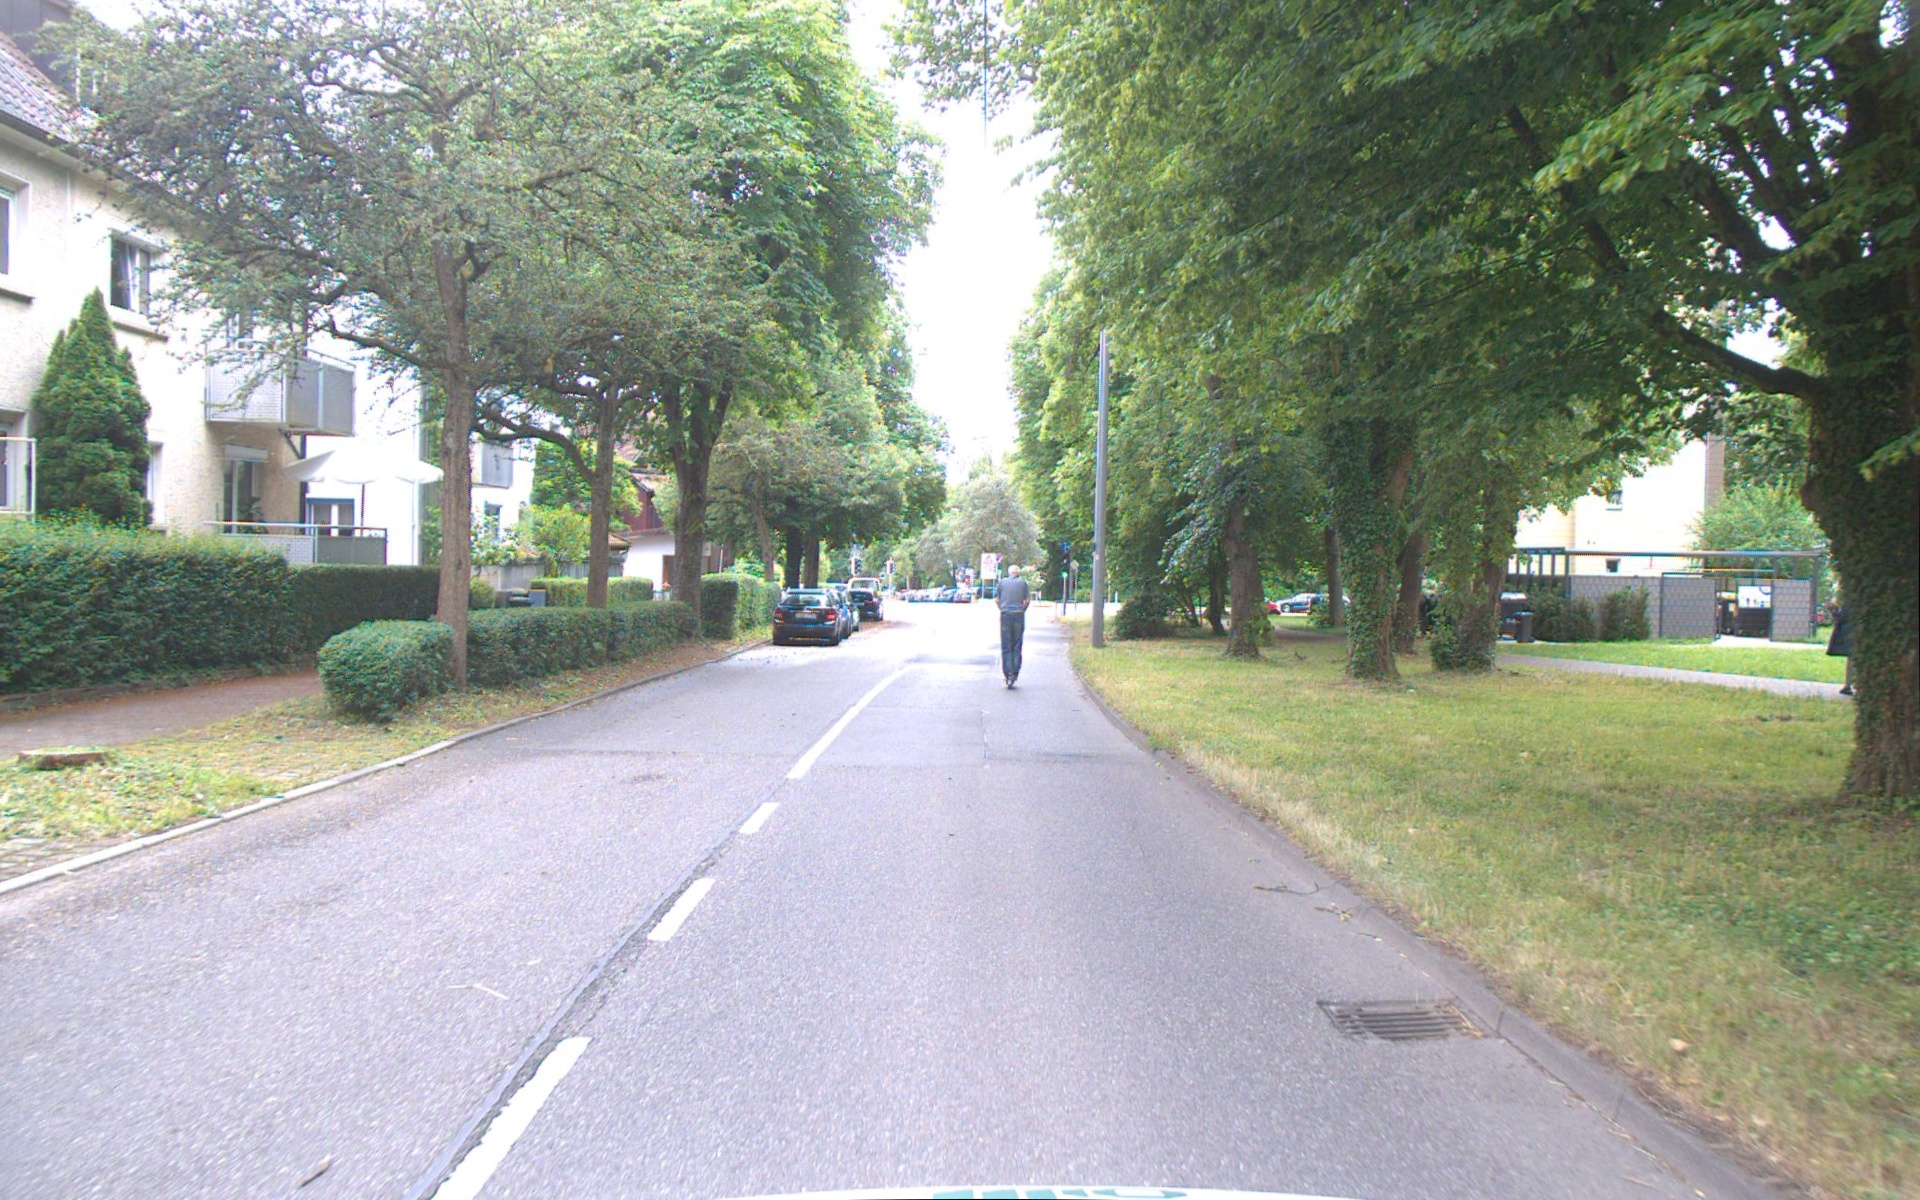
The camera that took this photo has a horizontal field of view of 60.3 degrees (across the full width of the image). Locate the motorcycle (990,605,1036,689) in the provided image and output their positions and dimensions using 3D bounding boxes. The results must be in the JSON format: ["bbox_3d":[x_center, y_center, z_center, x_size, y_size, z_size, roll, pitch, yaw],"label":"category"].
[{"bbox_3d":[0.821,0.715,25.833,0.659,1.238,1.274,2,0,1],"label":"motorcycle"}]

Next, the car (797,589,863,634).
[{"bbox_3d":[-4.278,0.349,55.000,1.757,1.435,4.645,0,0,1],"label":"car"}]

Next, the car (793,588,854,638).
[{"bbox_3d":[-4.034,0.365,49.295,1.631,1.416,3.705,0,0,-2],"label":"car"}]

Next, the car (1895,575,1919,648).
[{"bbox_3d":[25.623,0.328,41.534,2.041,1.875,4.972,0,1,8],"label":"car"}]

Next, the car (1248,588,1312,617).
[{"bbox_3d":[20.319,0.169,104.988,3.902,1.584,1.802,2,3,12],"label":"car"}]

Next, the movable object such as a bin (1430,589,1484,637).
[{"bbox_3d":[15.943,0.400,53.096,1.300,1.527,1.314,0,0,-3],"label":"movable object such as a bin"}]

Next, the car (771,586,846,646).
[{"bbox_3d":[-4.000,0.391,44.225,1.758,1.498,4.416,0,0,-3],"label":"car"}]

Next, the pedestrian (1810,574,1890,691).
[{"bbox_3d":[13.312,0.472,24.753,0.752,1.716,0.814,0,0,-1],"label":"pedestrian"}]

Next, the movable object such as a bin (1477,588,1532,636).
[{"bbox_3d":[17.468,0.383,53.098,1.300,1.527,1.314,0,0,-3],"label":"movable object such as a bin"}]

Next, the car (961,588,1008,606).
[{"bbox_3d":[2.102,-0.252,142.422,3.907,1.537,1.799,0,0,-3],"label":"car"}]

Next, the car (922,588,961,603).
[{"bbox_3d":[-1.856,-0.440,167.085,3.907,1.537,1.799,0,0,-3],"label":"car"}]

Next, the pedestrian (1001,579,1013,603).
[{"bbox_3d":[3.540,-0.644,123.343,0.717,1.792,0.662,0,0,19],"label":"pedestrian"}]

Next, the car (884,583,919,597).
[{"bbox_3d":[-6.477,-1.117,183.548,3.907,1.537,1.799,0,0,-3],"label":"car"}]

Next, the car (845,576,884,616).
[{"bbox_3d":[-4.994,-0.185,86.085,1.821,1.998,4.499,0,0,-5],"label":"car"}]

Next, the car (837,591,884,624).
[{"bbox_3d":[-4.495,0.326,75.298,1.853,1.435,4.554,0,0,0],"label":"car"}]

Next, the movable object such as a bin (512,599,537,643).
[{"bbox_3d":[-9.345,0.444,35.535,0.447,0.931,0.508,0,0,-6],"label":"movable object such as a bin"}]

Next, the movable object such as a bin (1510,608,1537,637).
[{"bbox_3d":[17.410,0.698,51.141,0.586,0.893,0.668,0,0,-3],"label":"movable object such as a bin"}]

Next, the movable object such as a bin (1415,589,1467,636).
[{"bbox_3d":[15.856,0.394,54.529,1.300,1.527,1.314,0,0,-3],"label":"movable object such as a bin"}]

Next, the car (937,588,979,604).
[{"bbox_3d":[-0.220,-0.386,156.379,3.907,1.537,1.799,0,0,-3],"label":"car"}]

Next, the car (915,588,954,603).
[{"bbox_3d":[-2.585,-0.471,168.976,3.907,1.537,1.799,0,0,-3],"label":"car"}]

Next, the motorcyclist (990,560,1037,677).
[{"bbox_3d":[0.840,0.281,26.016,0.659,1.792,0.639,2,0,1],"label":"motorcyclist"}]

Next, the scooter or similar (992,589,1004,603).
[{"bbox_3d":[2.842,-0.281,123.593,0.695,1.067,0.787,0,0,19],"label":"scooter or similar"}]
